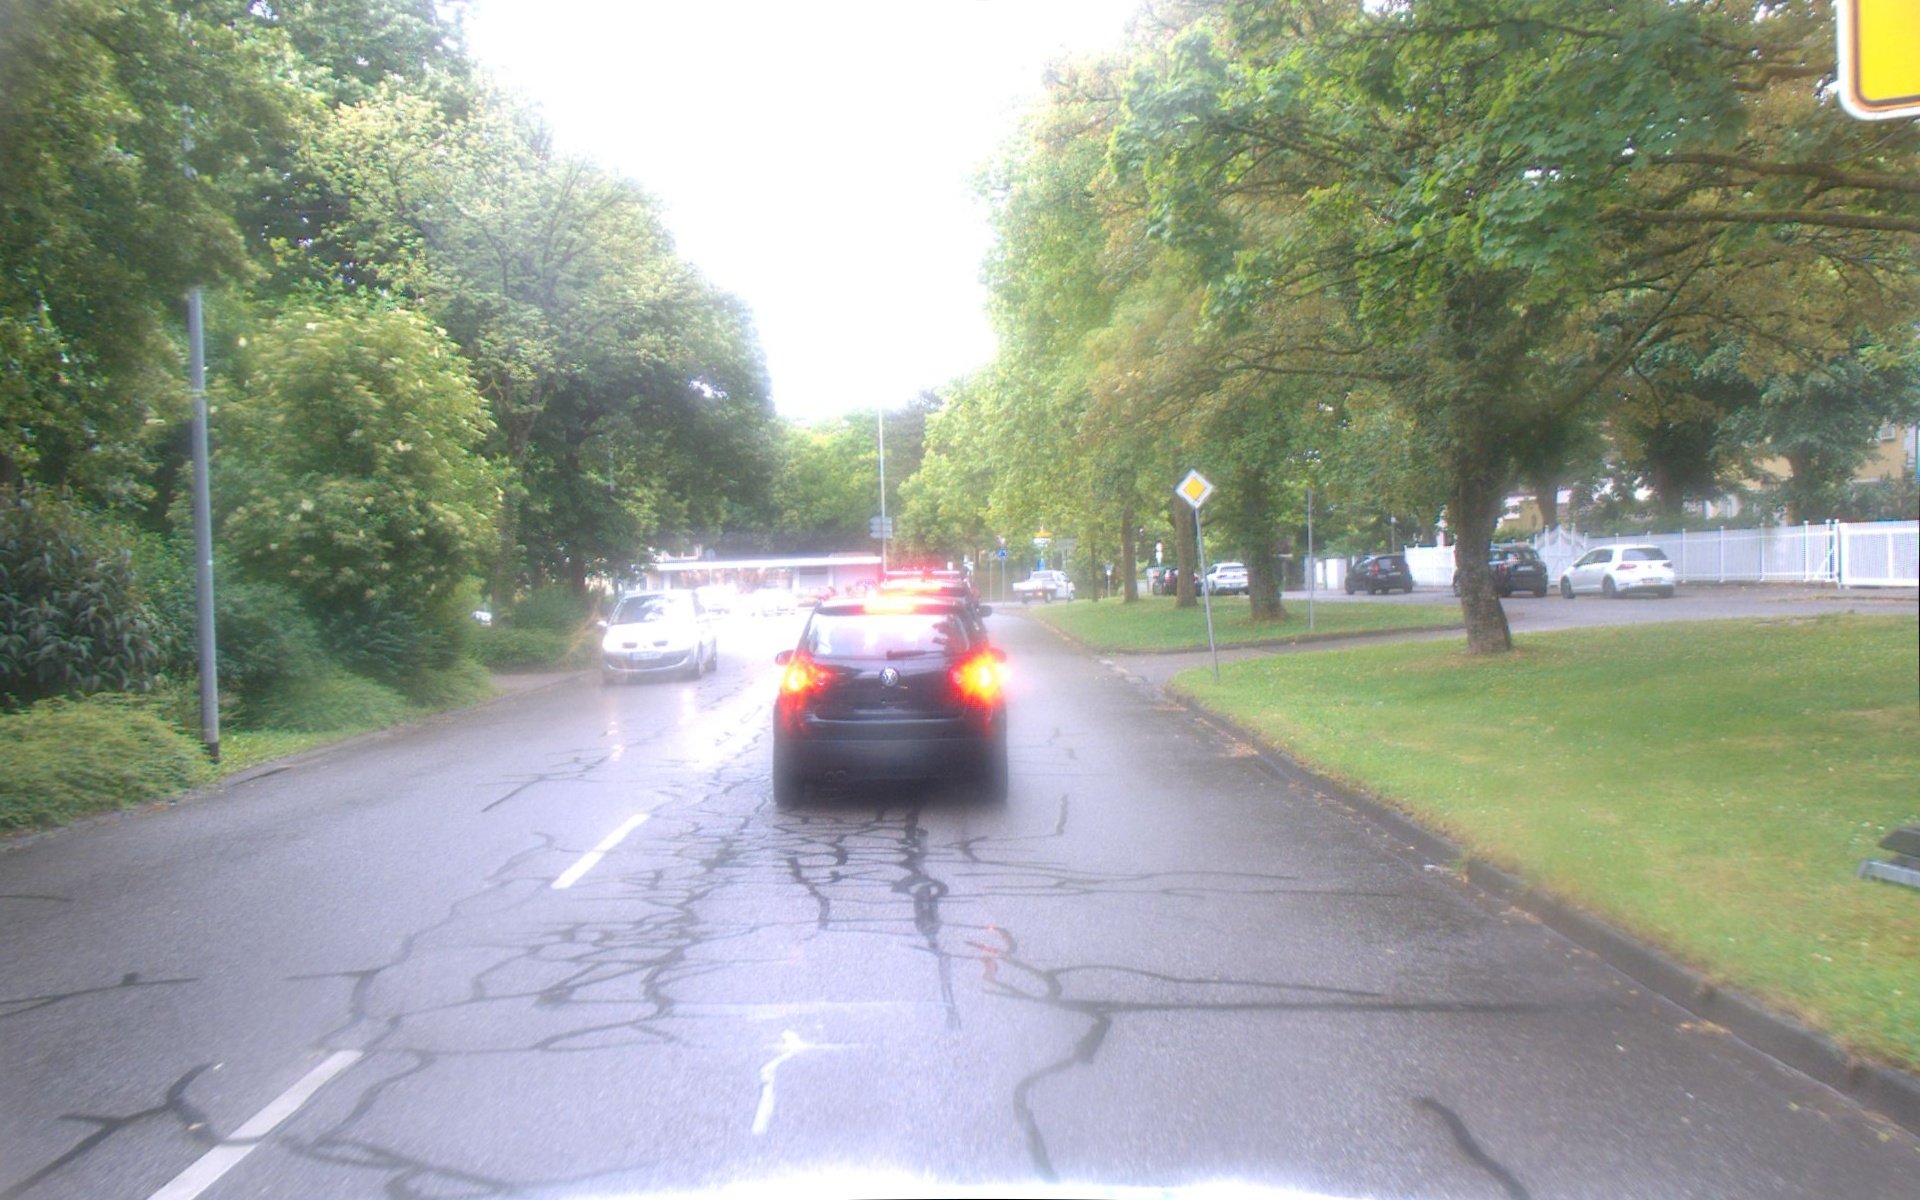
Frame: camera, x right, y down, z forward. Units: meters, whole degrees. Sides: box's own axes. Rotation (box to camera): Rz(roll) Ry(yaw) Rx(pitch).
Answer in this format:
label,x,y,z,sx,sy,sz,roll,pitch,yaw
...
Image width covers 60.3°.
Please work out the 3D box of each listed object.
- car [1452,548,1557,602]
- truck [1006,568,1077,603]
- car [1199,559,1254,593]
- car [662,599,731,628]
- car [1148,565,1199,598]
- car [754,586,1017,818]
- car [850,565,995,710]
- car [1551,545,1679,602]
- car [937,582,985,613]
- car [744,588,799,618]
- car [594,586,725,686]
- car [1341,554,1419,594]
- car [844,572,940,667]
label,x,y,z,sx,sy,sz,roll,pitch,yaw
car,17.422,-0.819,53.140,1.766,1.556,4.110,-3,1,-4
truck,5.136,-0.903,103.043,2.371,2.039,5.142,-2,0,29
car,12.535,-1.144,77.984,1.767,1.430,3.999,-4,1,-1
car,-15.828,0.813,99.480,3.713,1.646,1.778,-1,0,22
car,10.012,-0.889,77.831,1.767,1.409,3.999,-4,1,-1
car,-0.525,0.693,13.135,1.762,1.542,3.753,-1,0,-1
car,-0.510,0.463,23.417,1.818,1.816,4.000,-2,0,-1
car,18.007,-0.735,45.653,1.585,1.434,4.005,-3,1,-6
car,0.092,-0.152,87.944,1.670,1.539,3.676,-2,0,14
car,-10.026,0.159,87.833,1.589,1.452,3.972,-3,2,-27
car,-5.467,0.606,30.532,1.728,1.642,4.139,-3,0,-2
car,16.522,-1.047,65.237,1.766,1.436,4.110,-3,1,-4
car,-1.349,0.383,34.444,1.818,1.816,3.999,-2,0,-1
